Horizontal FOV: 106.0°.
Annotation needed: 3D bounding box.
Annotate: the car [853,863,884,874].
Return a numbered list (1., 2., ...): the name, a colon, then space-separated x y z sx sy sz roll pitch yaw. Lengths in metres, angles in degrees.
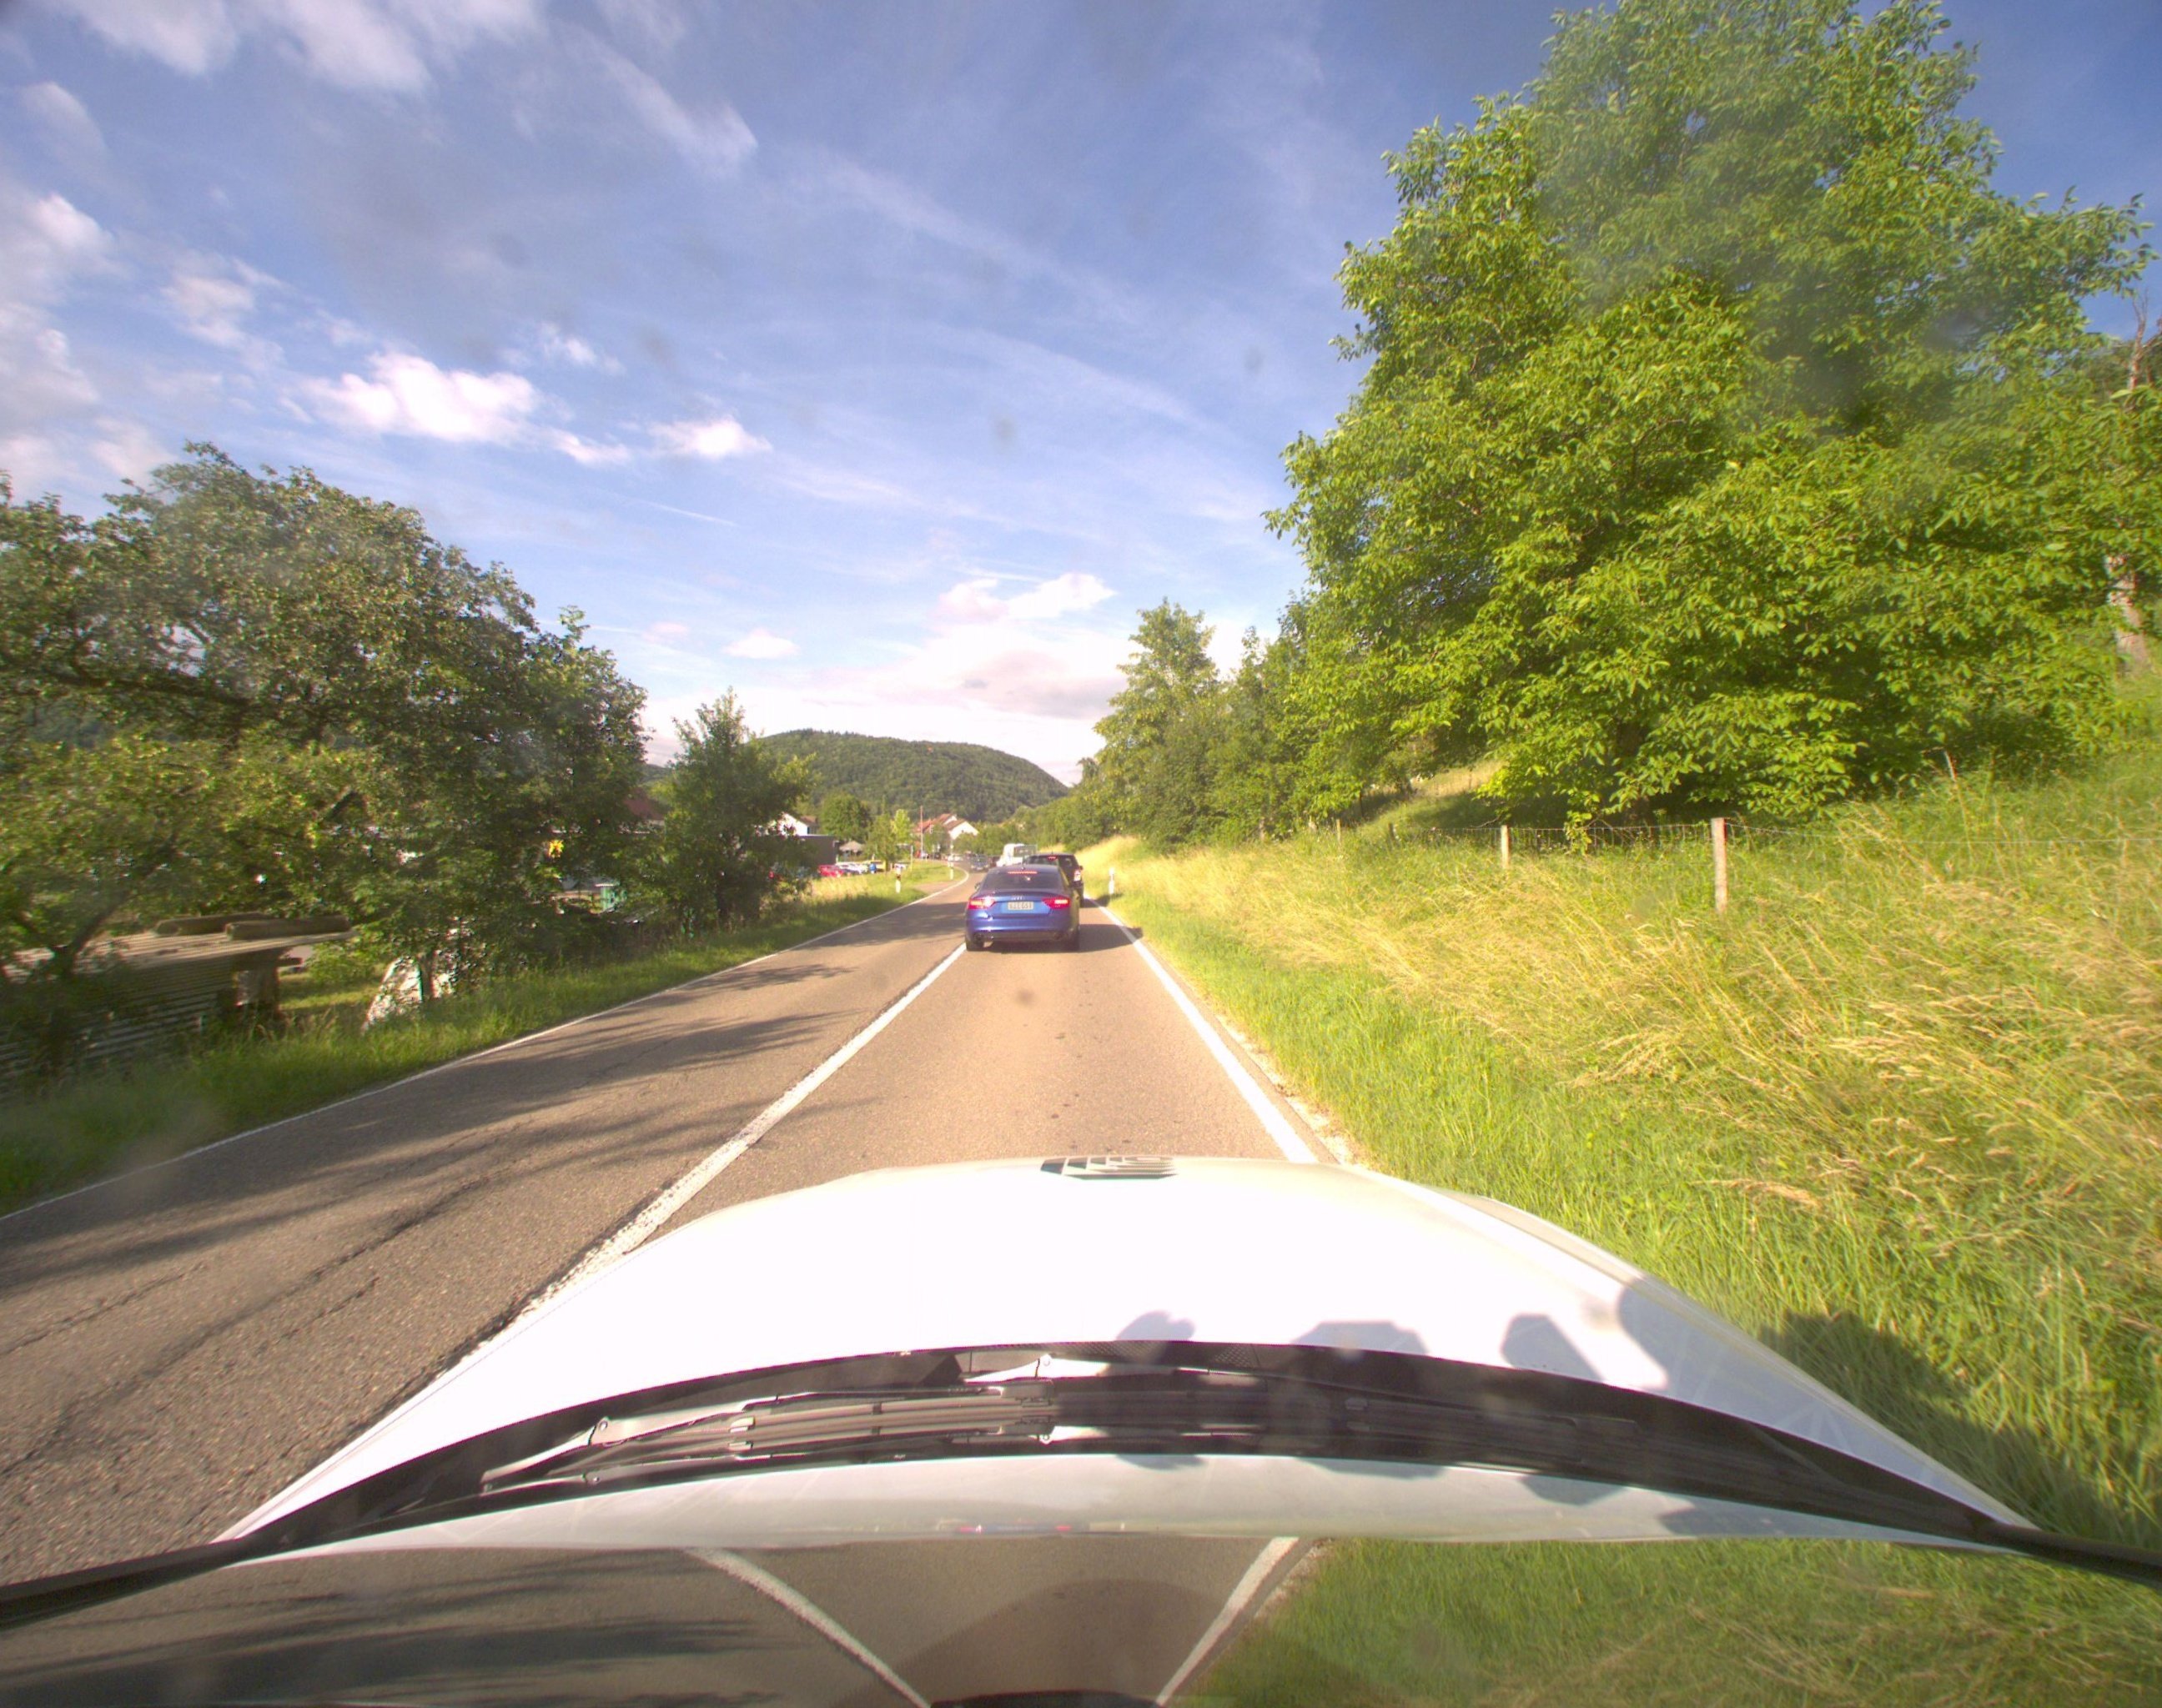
1. car: -30.977 2.056 118.948 3.974 1.553 1.782 0 -1 0

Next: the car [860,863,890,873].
1. car: -30.673 2.078 121.334 3.974 1.553 1.782 0 -1 0

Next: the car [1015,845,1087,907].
1. car: -0.831 0.624 24.659 1.987 1.702 3.999 0 -1 0

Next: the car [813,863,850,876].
1. car: -31.039 1.875 101.296 3.974 1.553 1.782 0 -1 0

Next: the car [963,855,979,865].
1. car: -17.664 0.981 130.599 1.997 1.482 3.980 0 -1 -14

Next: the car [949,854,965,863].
1. car: -21.627 0.835 141.623 2.000 1.482 3.972 0 -1 -20

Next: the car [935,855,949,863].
1. car: -27.245 1.032 159.020 2.000 1.482 3.972 0 -1 -20

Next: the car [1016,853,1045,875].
1. car: -3.683 0.724 58.622 1.990 1.482 3.992 0 -1 -5

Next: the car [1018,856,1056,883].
1. car: -2.610 0.887 47.264 1.991 1.482 3.990 0 -1 -7

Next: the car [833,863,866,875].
1. car: -31.152 1.962 109.658 3.974 1.553 1.782 0 -1 0

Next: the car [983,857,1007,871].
1. car: -9.889 1.132 93.311 1.999 1.482 3.975 0 -1 -18

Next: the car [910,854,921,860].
1. car: -39.065 0.669 192.624 2.000 1.482 3.972 0 -1 -20

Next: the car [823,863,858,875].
1. car: -31.145 1.919 105.490 3.974 1.553 1.782 0 -1 0

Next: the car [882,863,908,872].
1. car: -31.084 2.234 136.212 3.974 1.553 1.782 0 -1 0

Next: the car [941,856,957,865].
1. car: -24.115 1.200 148.664 2.000 1.482 3.972 0 -1 -20

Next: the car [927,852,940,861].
1. car: -31.168 0.515 172.142 2.000 2.013 3.974 0 0 -19

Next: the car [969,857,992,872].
1. car: -9.234 0.982 74.949 1.992 1.376 3.989 0 -1 -7

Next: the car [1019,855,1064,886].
1. car: -1.958 0.781 39.043 1.990 1.387 3.992 0 -1 -5

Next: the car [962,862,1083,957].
1. car: -0.876 0.855 14.199 1.788 1.360 3.999 -1 0 0

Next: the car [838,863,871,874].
1. car: -31.325 1.996 112.797 3.974 1.553 1.782 0 -1 0

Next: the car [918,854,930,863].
1. car: -35.600 1.004 184.374 2.000 2.014 3.974 0 -1 -19

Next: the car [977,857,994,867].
1. car: -14.091 1.209 120.456 1.997 1.482 3.980 0 -1 -14

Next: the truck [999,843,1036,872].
1. truck: -6.353 0.352 79.735 2.863 2.665 10.612 0 0 -9

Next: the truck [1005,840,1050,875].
1. truck: -4.582 0.259 67.741 2.863 2.665 10.361 0 0 -9
